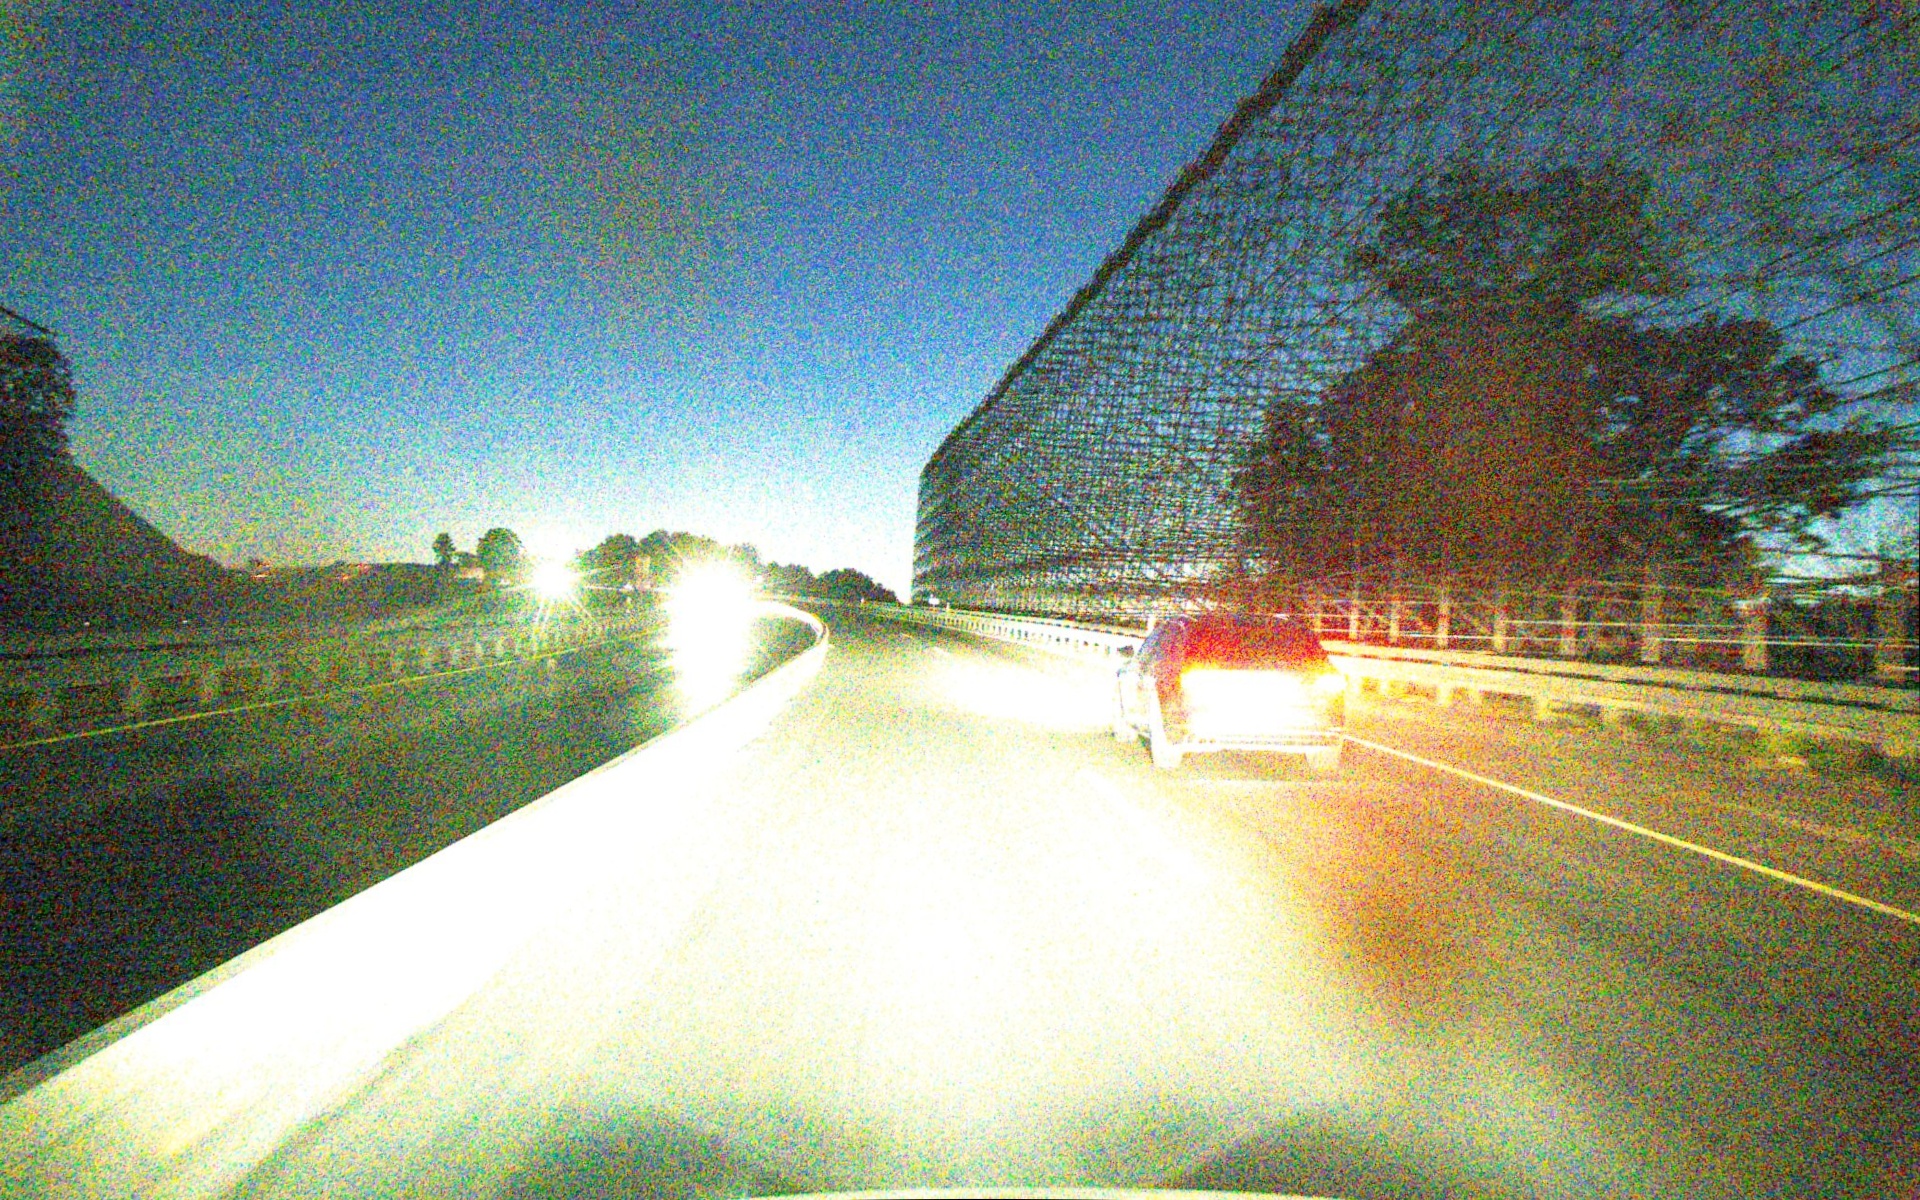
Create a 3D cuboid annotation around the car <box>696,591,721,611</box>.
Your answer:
[{"bbox_3d":[-21.753,0.062,142.891,1.977,1.668,4.850,1,-1,-11],"label":"car"}]

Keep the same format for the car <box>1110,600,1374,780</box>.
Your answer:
[{"bbox_3d":[2.693,0.789,16.927,1.771,1.451,4.874,1,1,-1],"label":"car"}]
